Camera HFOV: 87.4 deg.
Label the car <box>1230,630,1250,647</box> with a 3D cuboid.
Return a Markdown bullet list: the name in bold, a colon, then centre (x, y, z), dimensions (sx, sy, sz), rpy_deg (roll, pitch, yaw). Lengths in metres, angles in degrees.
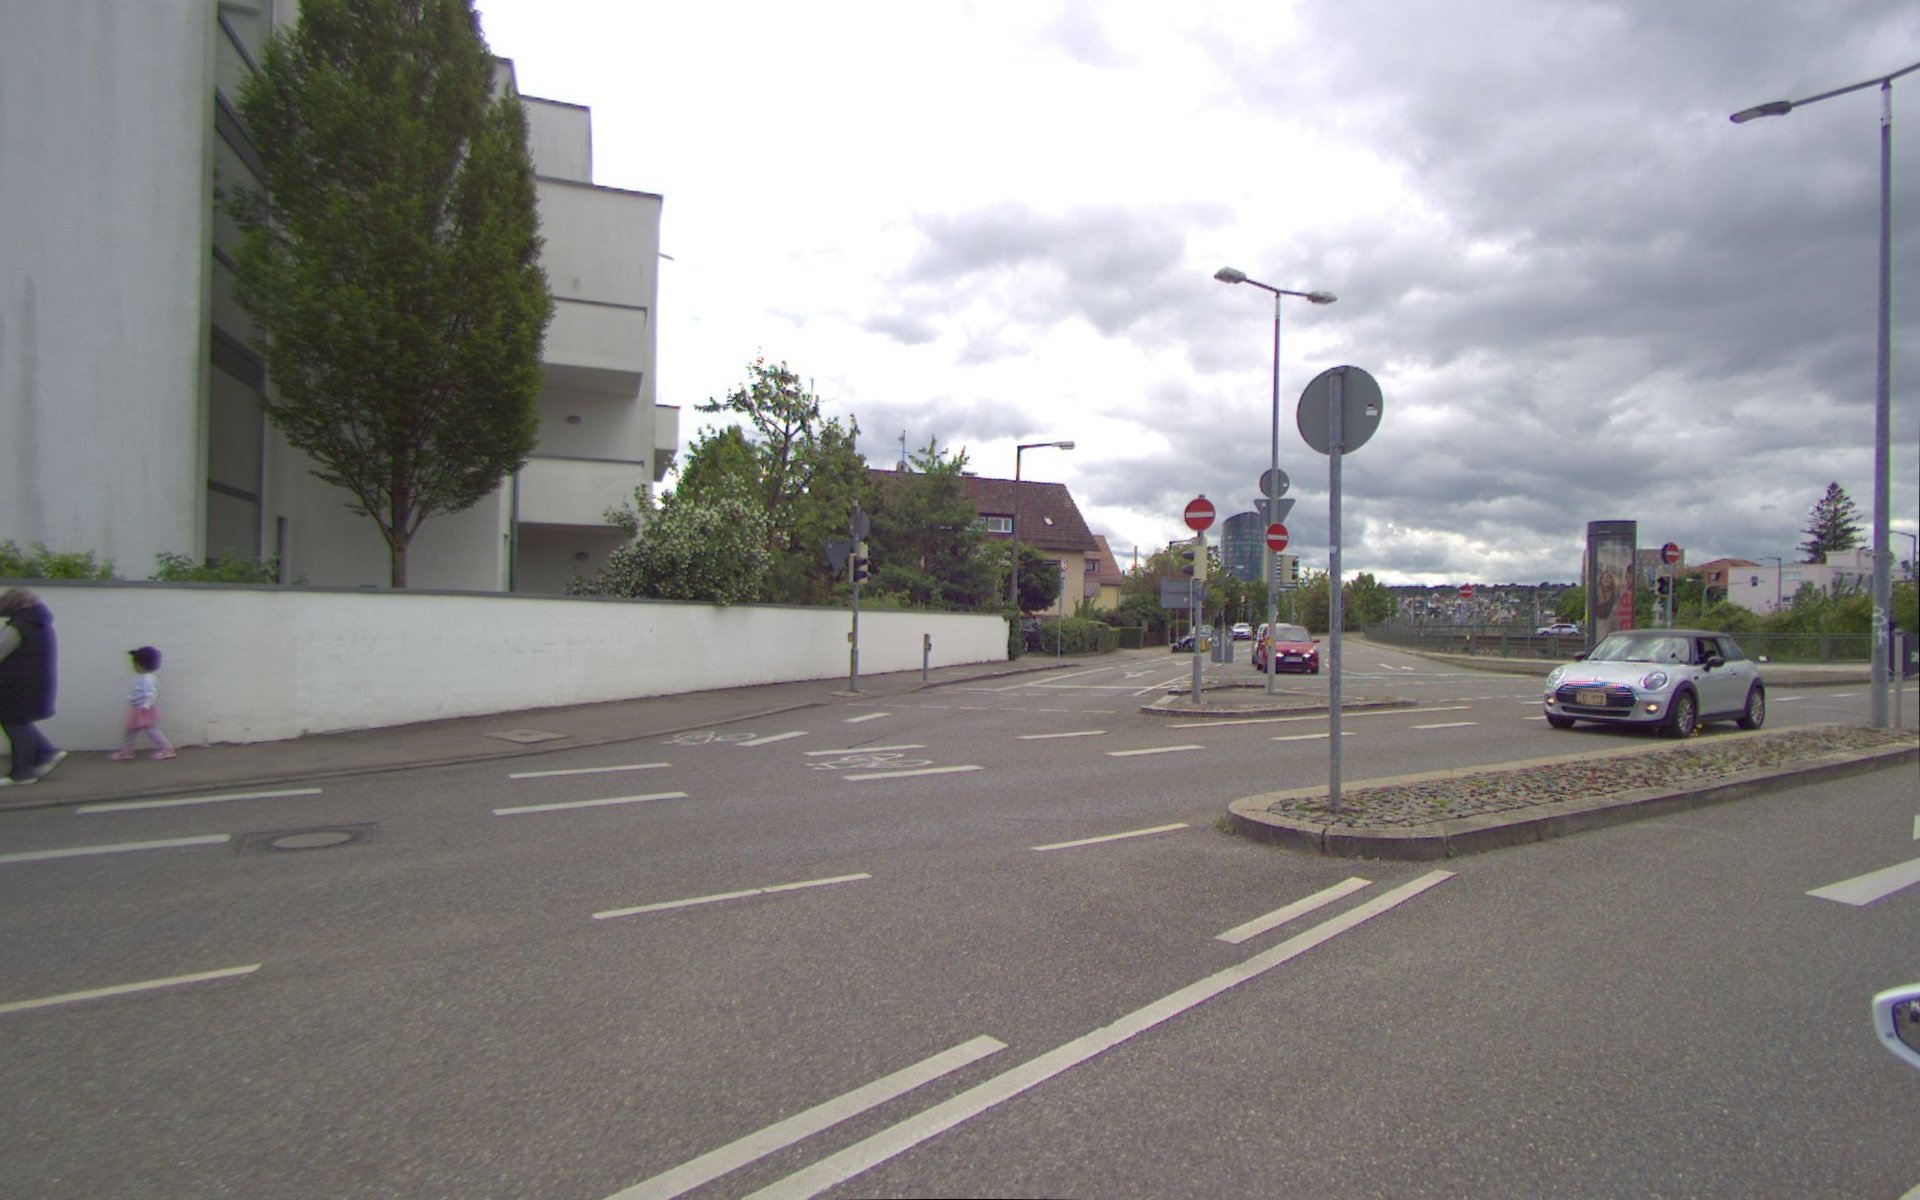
- **car**: centre (27.616, 3.771, 99.040), dimensions (1.862, 1.628, 4.378), rpy_deg (1, -1, 16)

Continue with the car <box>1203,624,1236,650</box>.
- **car**: centre (17.041, 2.390, 65.901), dimensions (1.960, 1.628, 4.378), rpy_deg (1, -1, 16)

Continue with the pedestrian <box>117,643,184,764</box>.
- **pedestrian**: centre (-7.547, 0.953, 9.376), dimensions (0.439, 1.076, 0.324), rpy_deg (1, 1, -33)

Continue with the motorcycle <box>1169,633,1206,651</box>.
- **motorcycle**: centre (13.587, 2.525, 59.976), dimensions (2.085, 1.012, 0.701), rpy_deg (1, -5, -13)

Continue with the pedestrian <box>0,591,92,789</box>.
- **pedestrian**: centre (-7.727, 0.725, 8.332), dimensions (0.724, 1.564, 0.528), rpy_deg (1, 4, -34)

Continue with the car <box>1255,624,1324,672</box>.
- **car**: centre (10.640, 1.551, 32.664), dimensions (1.739, 1.465, 3.706), rpy_deg (-1, -2, 12)

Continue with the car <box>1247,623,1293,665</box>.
- **car**: centre (12.142, 1.720, 39.462), dimensions (1.614, 1.555, 4.132), rpy_deg (-1, -3, 17)

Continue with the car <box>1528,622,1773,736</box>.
- **car**: centre (10.098, 1.069, 14.622), dimensions (3.778, 1.428, 1.633), rpy_deg (1, 0, -33)

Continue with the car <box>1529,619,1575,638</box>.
- **car**: centre (62.744, 3.052, 106.493), dimensions (3.924, 1.685, 1.734), rpy_deg (4, 3, 25)
